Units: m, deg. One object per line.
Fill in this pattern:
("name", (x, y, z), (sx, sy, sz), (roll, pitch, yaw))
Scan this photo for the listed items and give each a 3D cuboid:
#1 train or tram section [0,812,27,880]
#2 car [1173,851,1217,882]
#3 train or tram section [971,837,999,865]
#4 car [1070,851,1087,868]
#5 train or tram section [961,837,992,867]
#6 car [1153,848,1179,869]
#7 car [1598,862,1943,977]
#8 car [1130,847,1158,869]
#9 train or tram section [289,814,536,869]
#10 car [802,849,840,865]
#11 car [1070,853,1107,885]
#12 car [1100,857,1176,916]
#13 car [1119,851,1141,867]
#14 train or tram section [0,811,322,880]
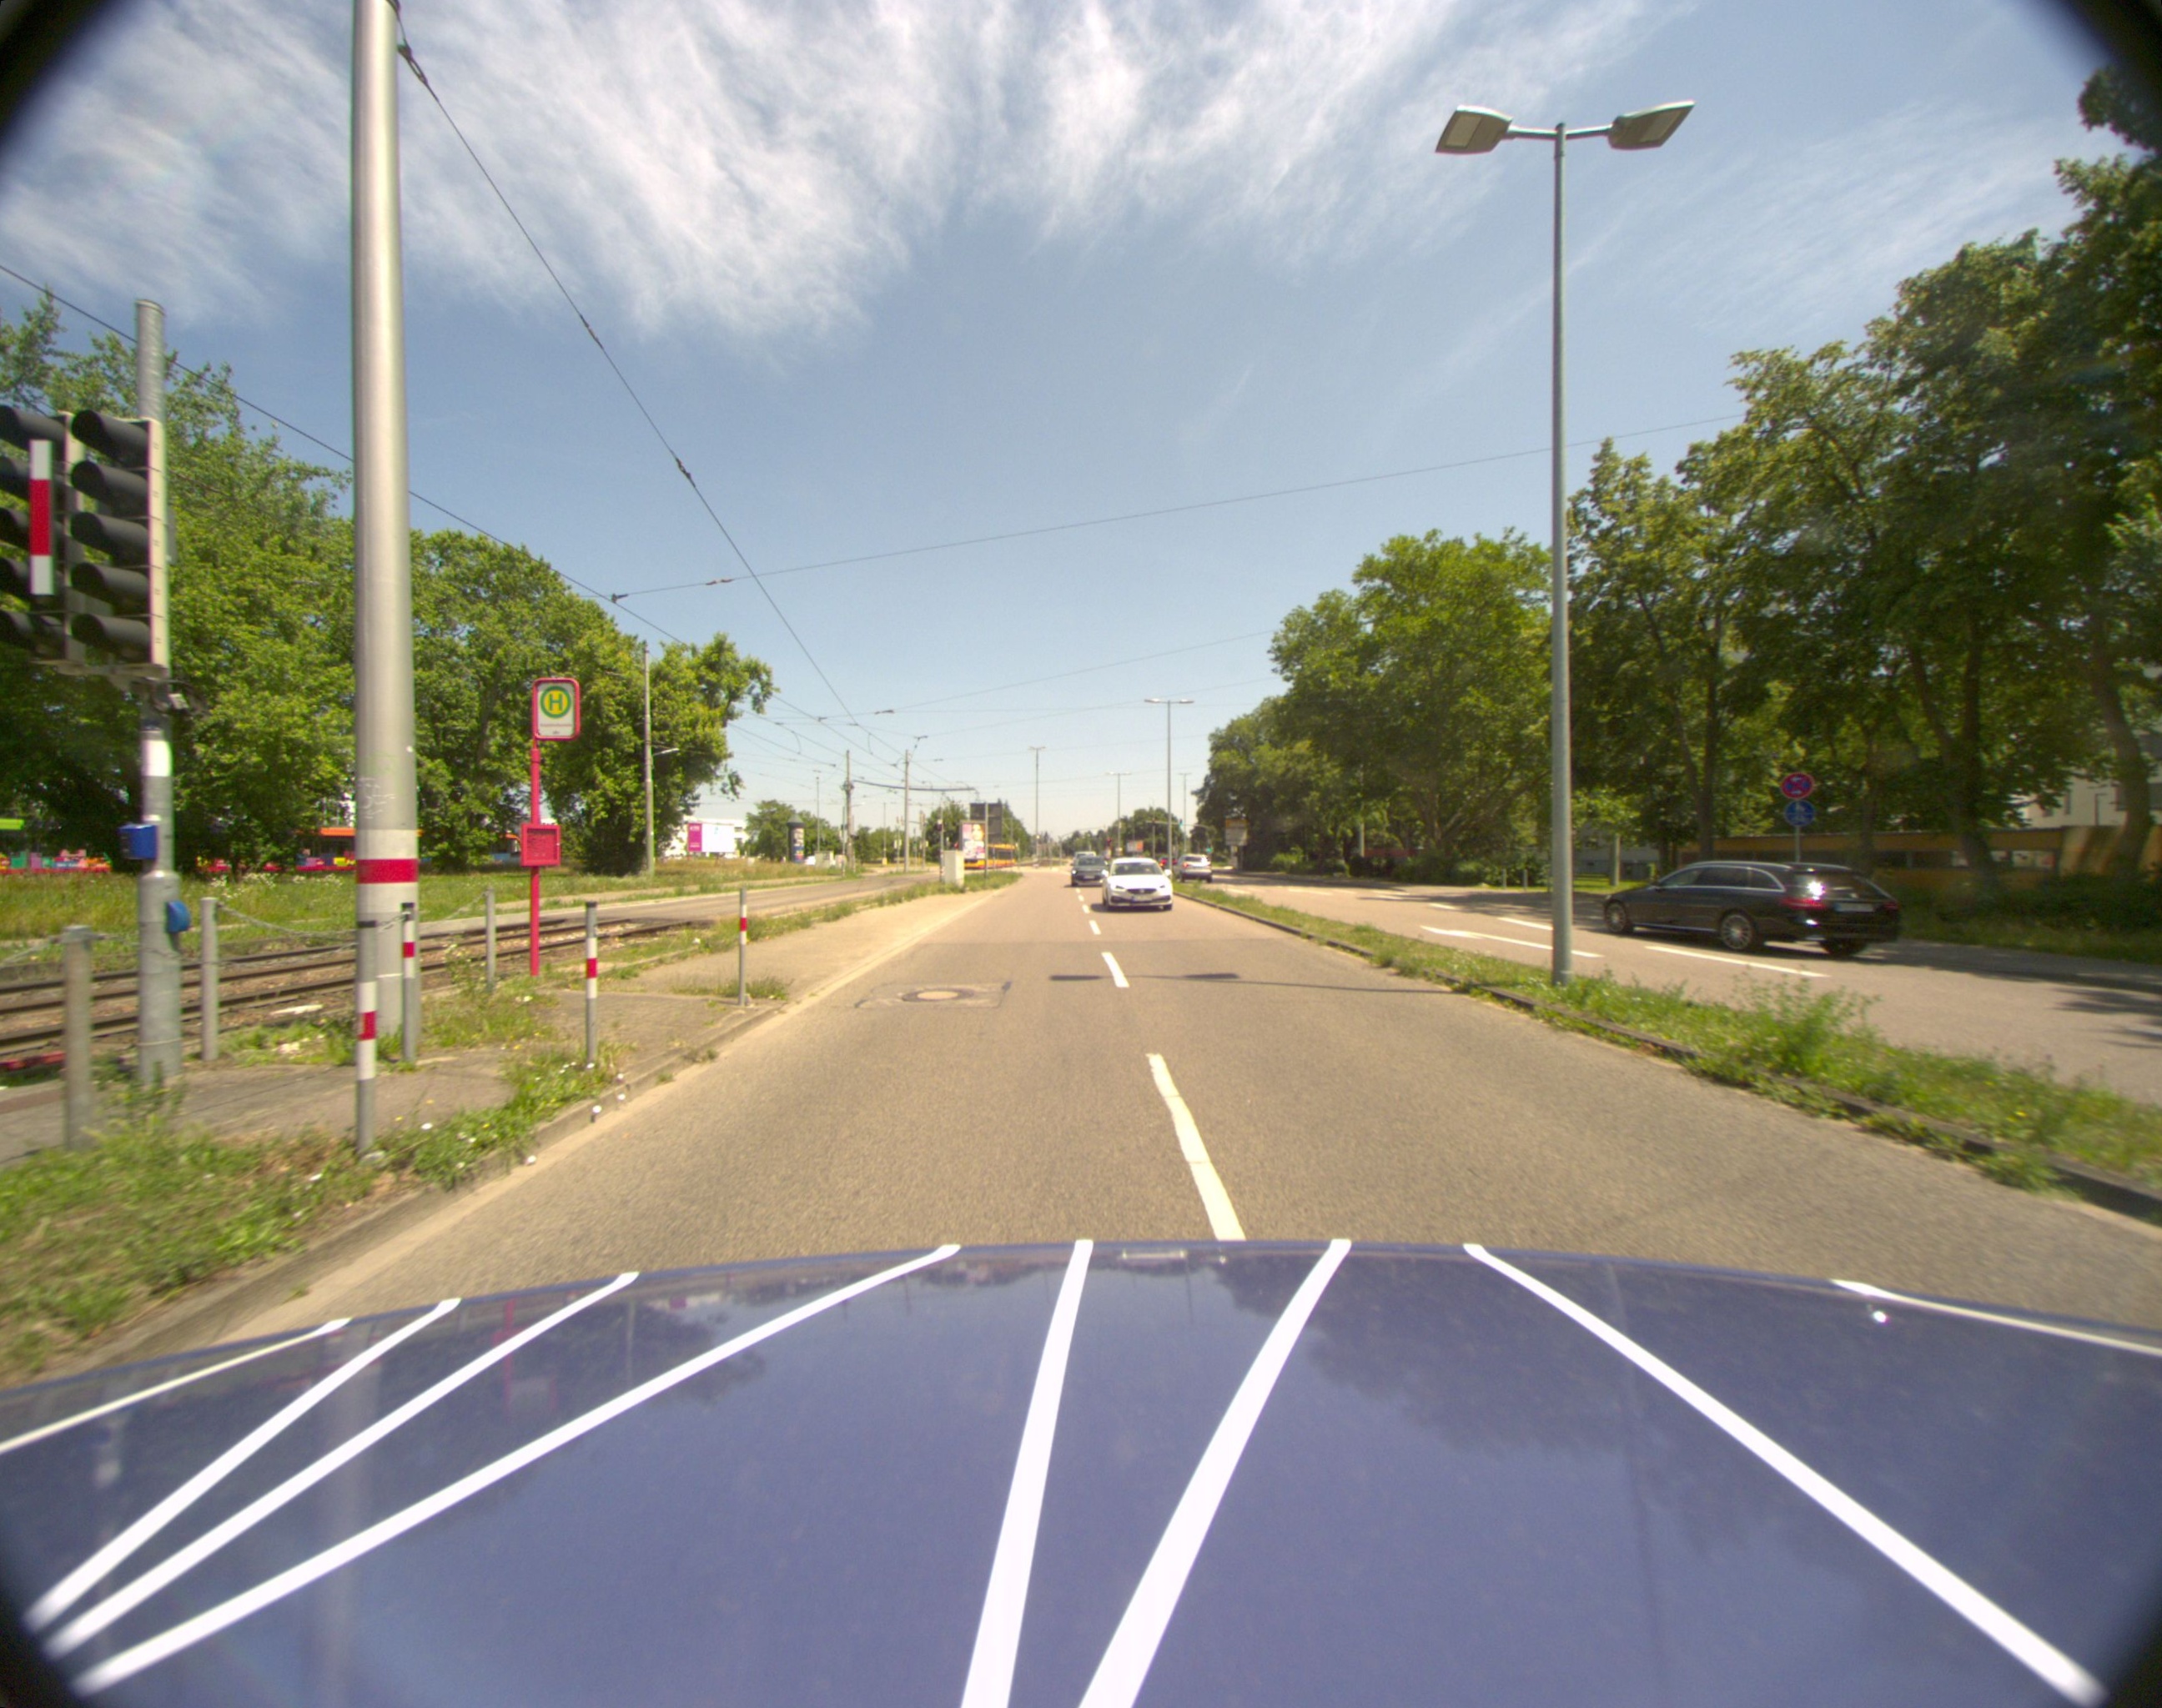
("train or tram section", (-58.330, -0.406, 34.382), (2.713, 3.598, 13.251), (1, 0, 1))
("car", (6.521, 0.677, 43.819), (1.816, 1.631, 3.999), (-1, 1, -1))
("train or tram section", (-11.891, -0.401, 94.461), (2.524, 3.304, 7.258), (0, 1, 0))
("car", (-0.261, 0.512, 74.200), (1.553, 1.600, 3.999), (1, 0, -2))
("train or tram section", (-11.883, -0.270, 87.183), (2.524, 3.304, 7.258), (0, 1, 0))
("car", (8.460, 0.415, 76.074), (1.999, 2.002, 3.999), (1, 0, -2))
("car", (11.399, 0.958, 13.149), (1.744, 1.499, 4.635), (2, 0, 1))
("car", (5.962, 0.360, 72.447), (1.999, 2.002, 3.998), (1, 0, -4))
("train or tram section", (-48.393, -1.013, 55.849), (13.276, 3.628, 2.708), (-2, 2, -40))
("car", (-28.350, 0.260, 82.855), (1.849, 1.609, 4.005), (-1, 1, 18))
("car", (0.424, 0.728, 38.971), (1.788, 1.554, 4.135), (1, 0, 1))
("car", (1.539, 0.861, 21.909), (1.772, 1.460, 4.110), (-1, 0, -1))
("car", (5.410, 0.552, 84.331), (1.999, 1.788, 3.998), (1, 0, -4))
("train or tram section", (-55.630, -0.566, 46.136), (2.709, 3.628, 13.271), (-1, 1, 24))
